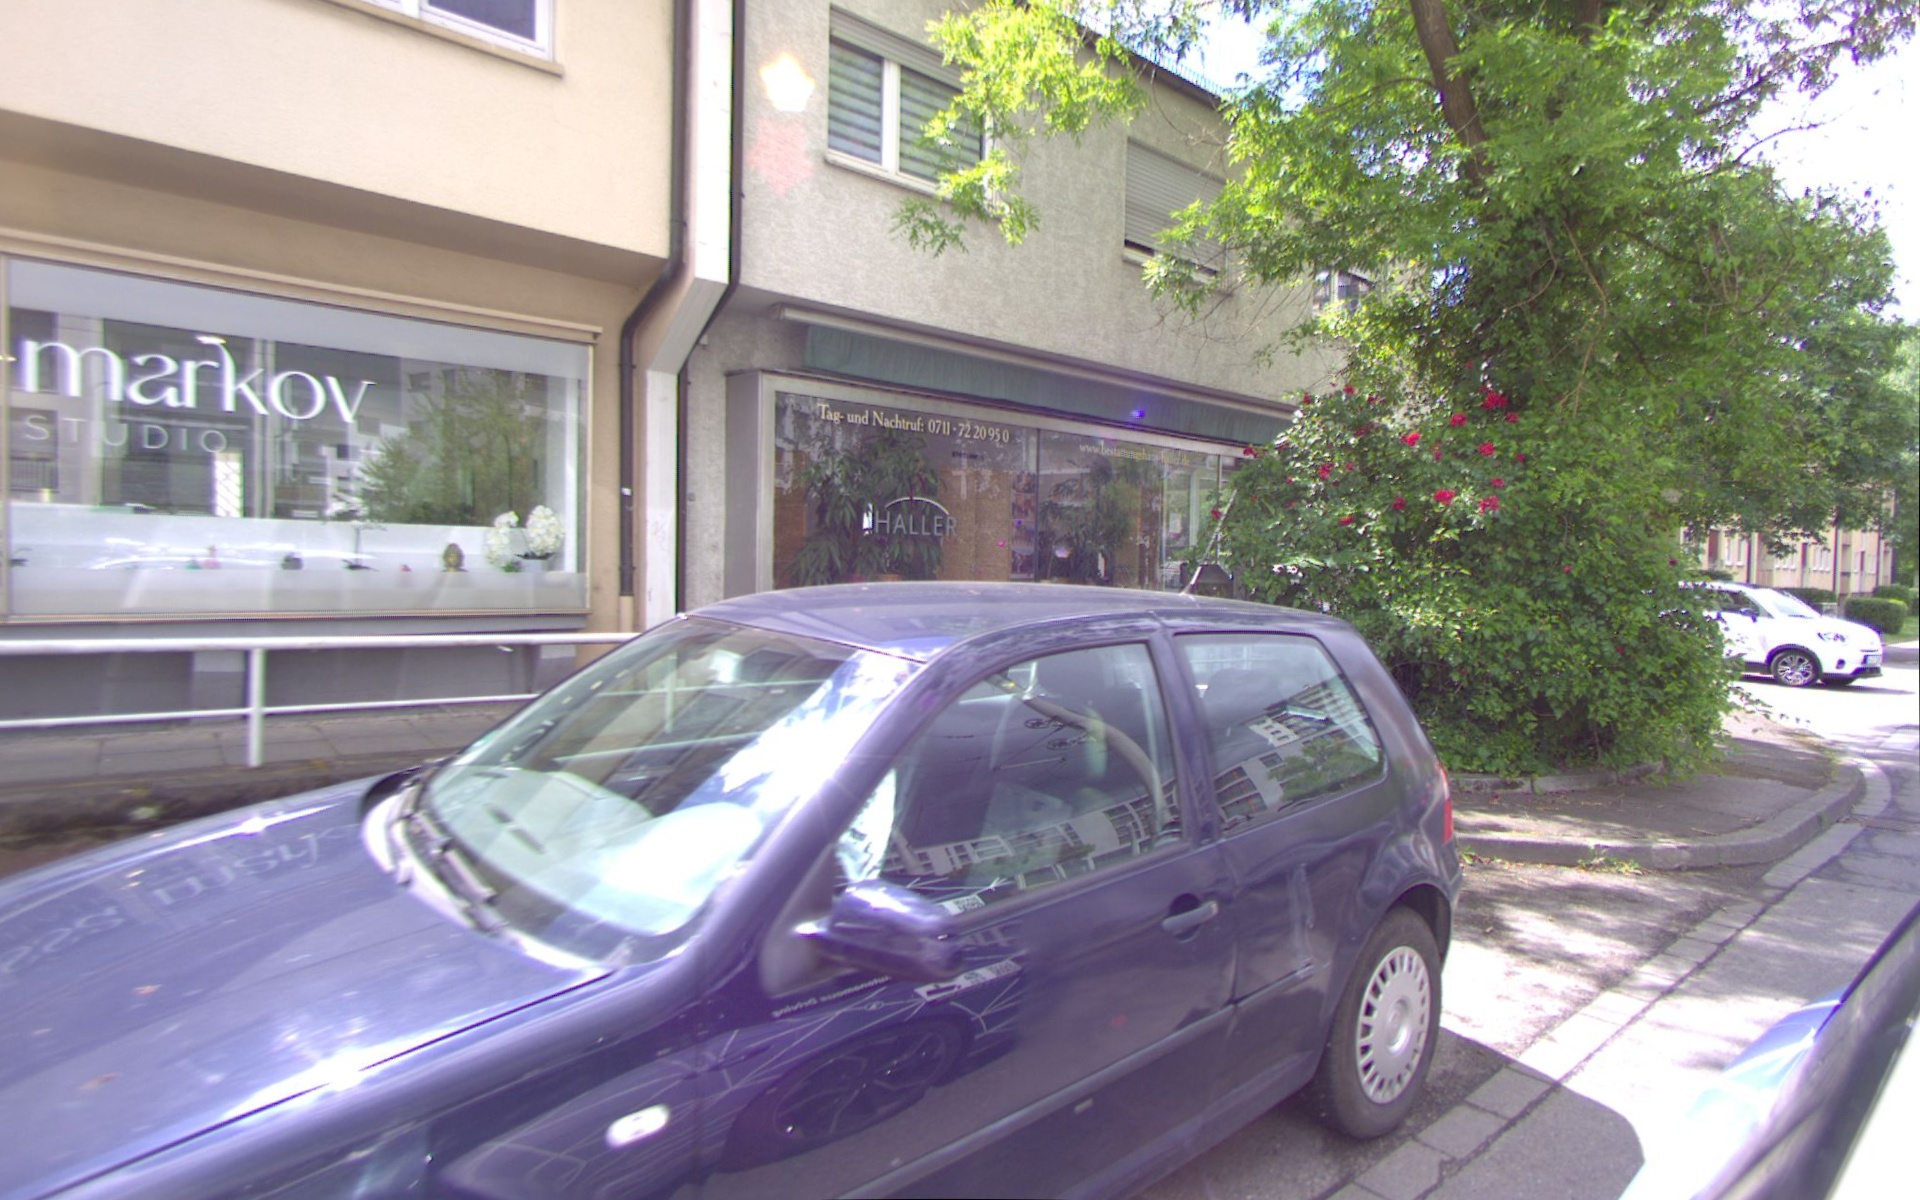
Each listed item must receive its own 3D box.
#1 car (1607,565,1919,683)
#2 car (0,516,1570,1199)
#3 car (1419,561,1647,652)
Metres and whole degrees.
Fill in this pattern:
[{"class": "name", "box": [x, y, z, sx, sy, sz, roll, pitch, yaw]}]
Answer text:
[{"class": "car", "box": [13.073, 0.297, 16.626, 1.804, 1.590, 3.656, 0, 3, -28]}, {"class": "car", "box": [-0.283, 0.637, 2.556, 3.967, 1.482, 1.819, 0, 1, -38]}, {"class": "car", "box": [11.601, 0.056, 20.741, 1.803, 1.590, 3.658, 1, 3, -24]}]
